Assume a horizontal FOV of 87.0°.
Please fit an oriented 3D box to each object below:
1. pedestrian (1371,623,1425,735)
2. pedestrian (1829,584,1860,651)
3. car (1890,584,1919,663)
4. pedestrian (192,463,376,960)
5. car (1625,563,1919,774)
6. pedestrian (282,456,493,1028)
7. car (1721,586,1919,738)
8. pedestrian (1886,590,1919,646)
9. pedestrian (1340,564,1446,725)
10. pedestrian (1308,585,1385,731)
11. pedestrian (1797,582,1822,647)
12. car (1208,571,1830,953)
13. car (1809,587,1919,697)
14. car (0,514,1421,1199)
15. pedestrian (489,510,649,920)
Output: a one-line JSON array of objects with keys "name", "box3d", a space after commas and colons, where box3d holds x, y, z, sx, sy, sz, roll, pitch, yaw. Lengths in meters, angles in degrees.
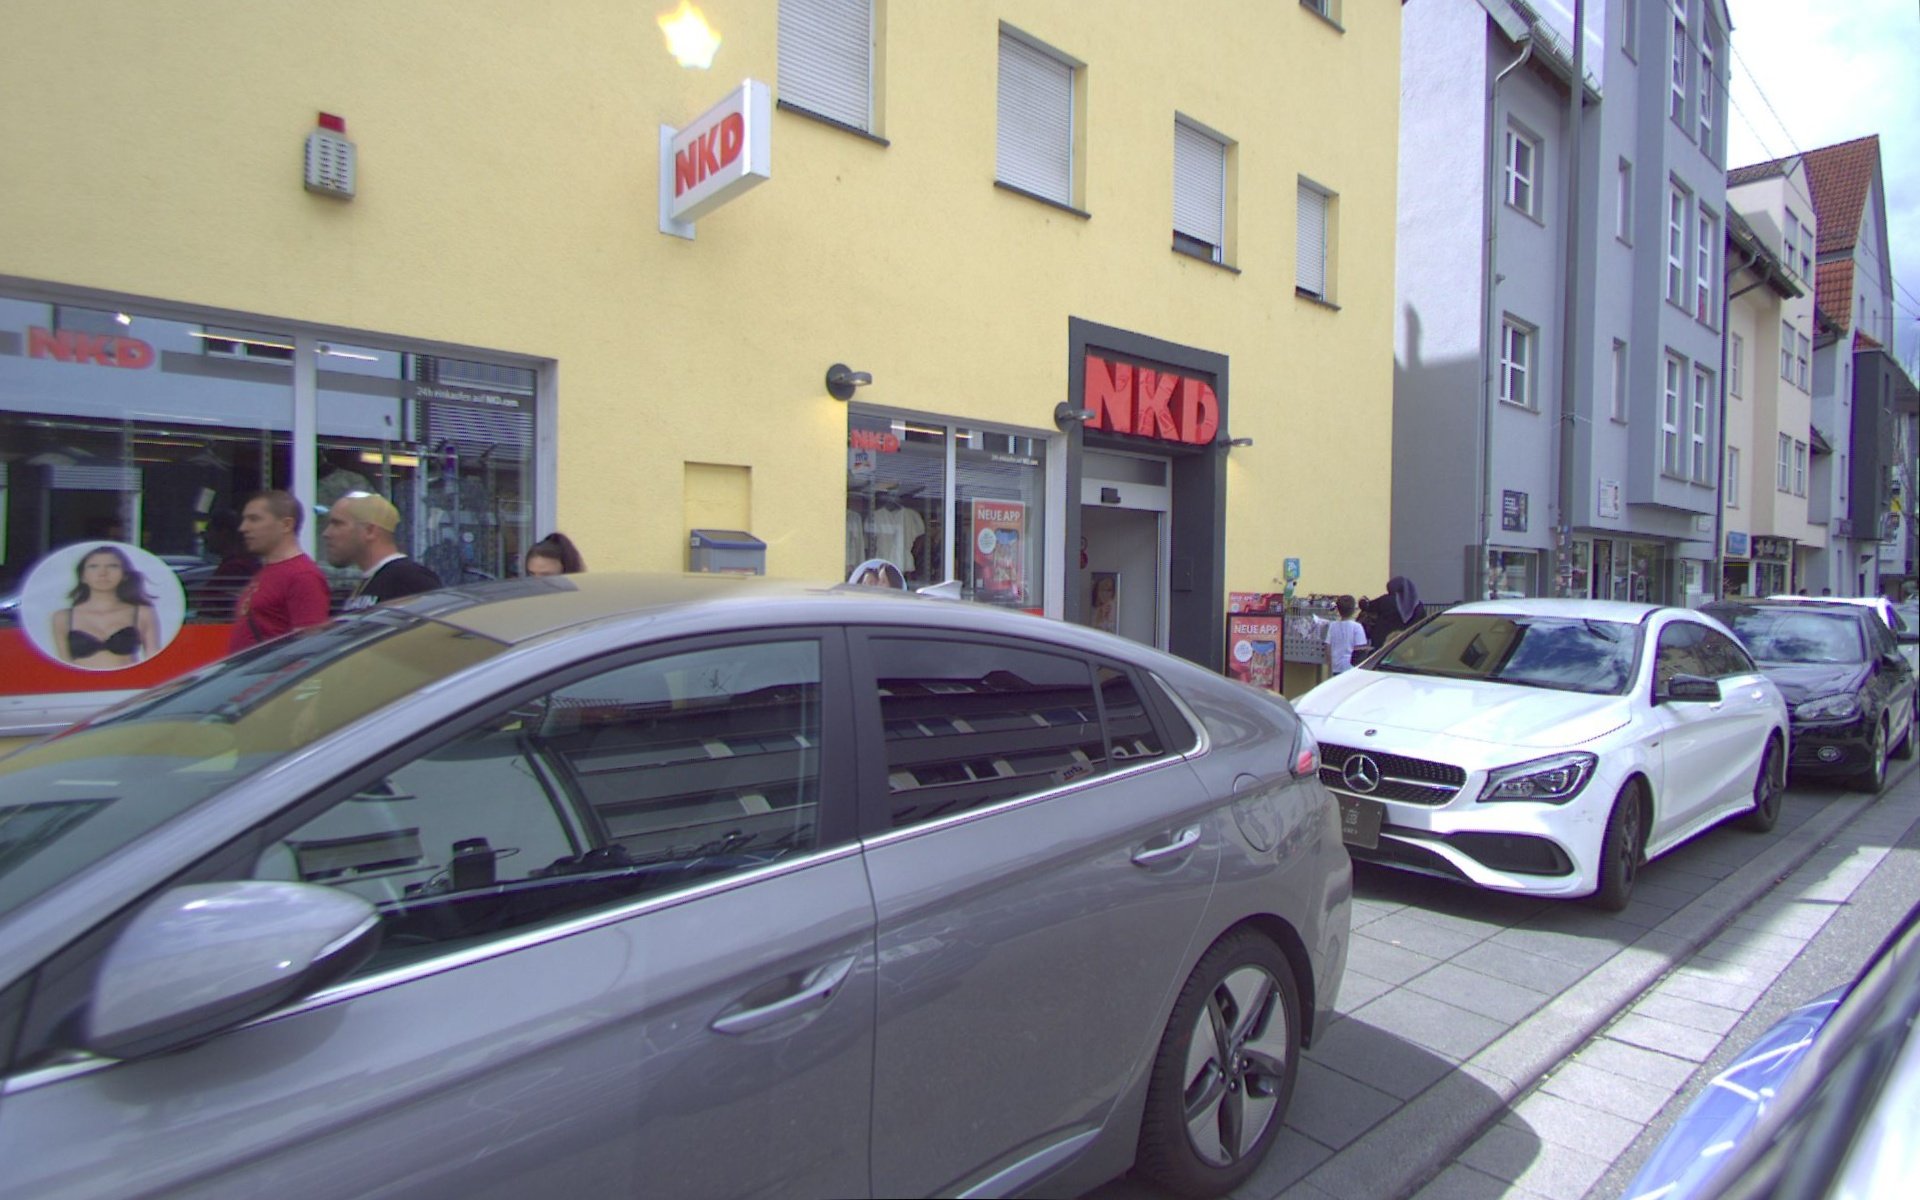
[{"name": "pedestrian", "box3d": [4.104, 0.731, 9.493, 0.288, 1.013, 0.352, 1, 1, -15]}, {"name": "pedestrian", "box3d": [23.451, 0.445, 26.830, 0.596, 1.739, 0.536, -1, 0, -42]}, {"name": "car", "box3d": [21.867, 0.528, 22.168, 4.132, 1.623, 1.802, 0, 3, -42]}, {"name": "pedestrian", "box3d": [-2.818, 0.413, 4.211, 0.566, 1.864, 0.589, -1, 0, -40]}, {"name": "car", "box3d": [7.713, 0.533, 9.317, 4.447, 1.491, 1.691, 2, -2, -43]}, {"name": "pedestrian", "box3d": [-2.103, 0.459, 3.708, 0.566, 1.864, 0.589, -1, 0, -40]}, {"name": "car", "box3d": [10.975, 0.638, 12.612, 3.692, 1.594, 1.691, -1, 0, -42]}, {"name": "pedestrian", "box3d": [30.004, 0.548, 32.172, 0.644, 1.739, 0.744, -1, 1, -42]}, {"name": "pedestrian", "box3d": [4.474, 0.421, 10.458, 0.713, 1.572, 0.751, -1, 2, -41]}, {"name": "pedestrian", "box3d": [3.781, 0.551, 9.908, 0.527, 1.381, 0.446, 1, 1, -24]}, {"name": "pedestrian", "box3d": [23.011, 0.377, 27.411, 0.528, 1.739, 0.436, -1, 0, -43]}, {"name": "car", "box3d": [3.680, 0.598, 6.152, 4.869, 1.494, 1.634, -1, 0, -39]}, {"name": "car", "box3d": [14.866, 0.587, 16.018, 4.225, 1.458, 1.691, -1, 4, -44]}, {"name": "car", "box3d": [-0.813, 0.650, 2.244, 4.278, 1.494, 1.724, -1, 0, -41]}, {"name": "pedestrian", "box3d": [-1.942, 0.518, 5.014, 0.566, 1.864, 0.589, -1, 0, -40]}]
